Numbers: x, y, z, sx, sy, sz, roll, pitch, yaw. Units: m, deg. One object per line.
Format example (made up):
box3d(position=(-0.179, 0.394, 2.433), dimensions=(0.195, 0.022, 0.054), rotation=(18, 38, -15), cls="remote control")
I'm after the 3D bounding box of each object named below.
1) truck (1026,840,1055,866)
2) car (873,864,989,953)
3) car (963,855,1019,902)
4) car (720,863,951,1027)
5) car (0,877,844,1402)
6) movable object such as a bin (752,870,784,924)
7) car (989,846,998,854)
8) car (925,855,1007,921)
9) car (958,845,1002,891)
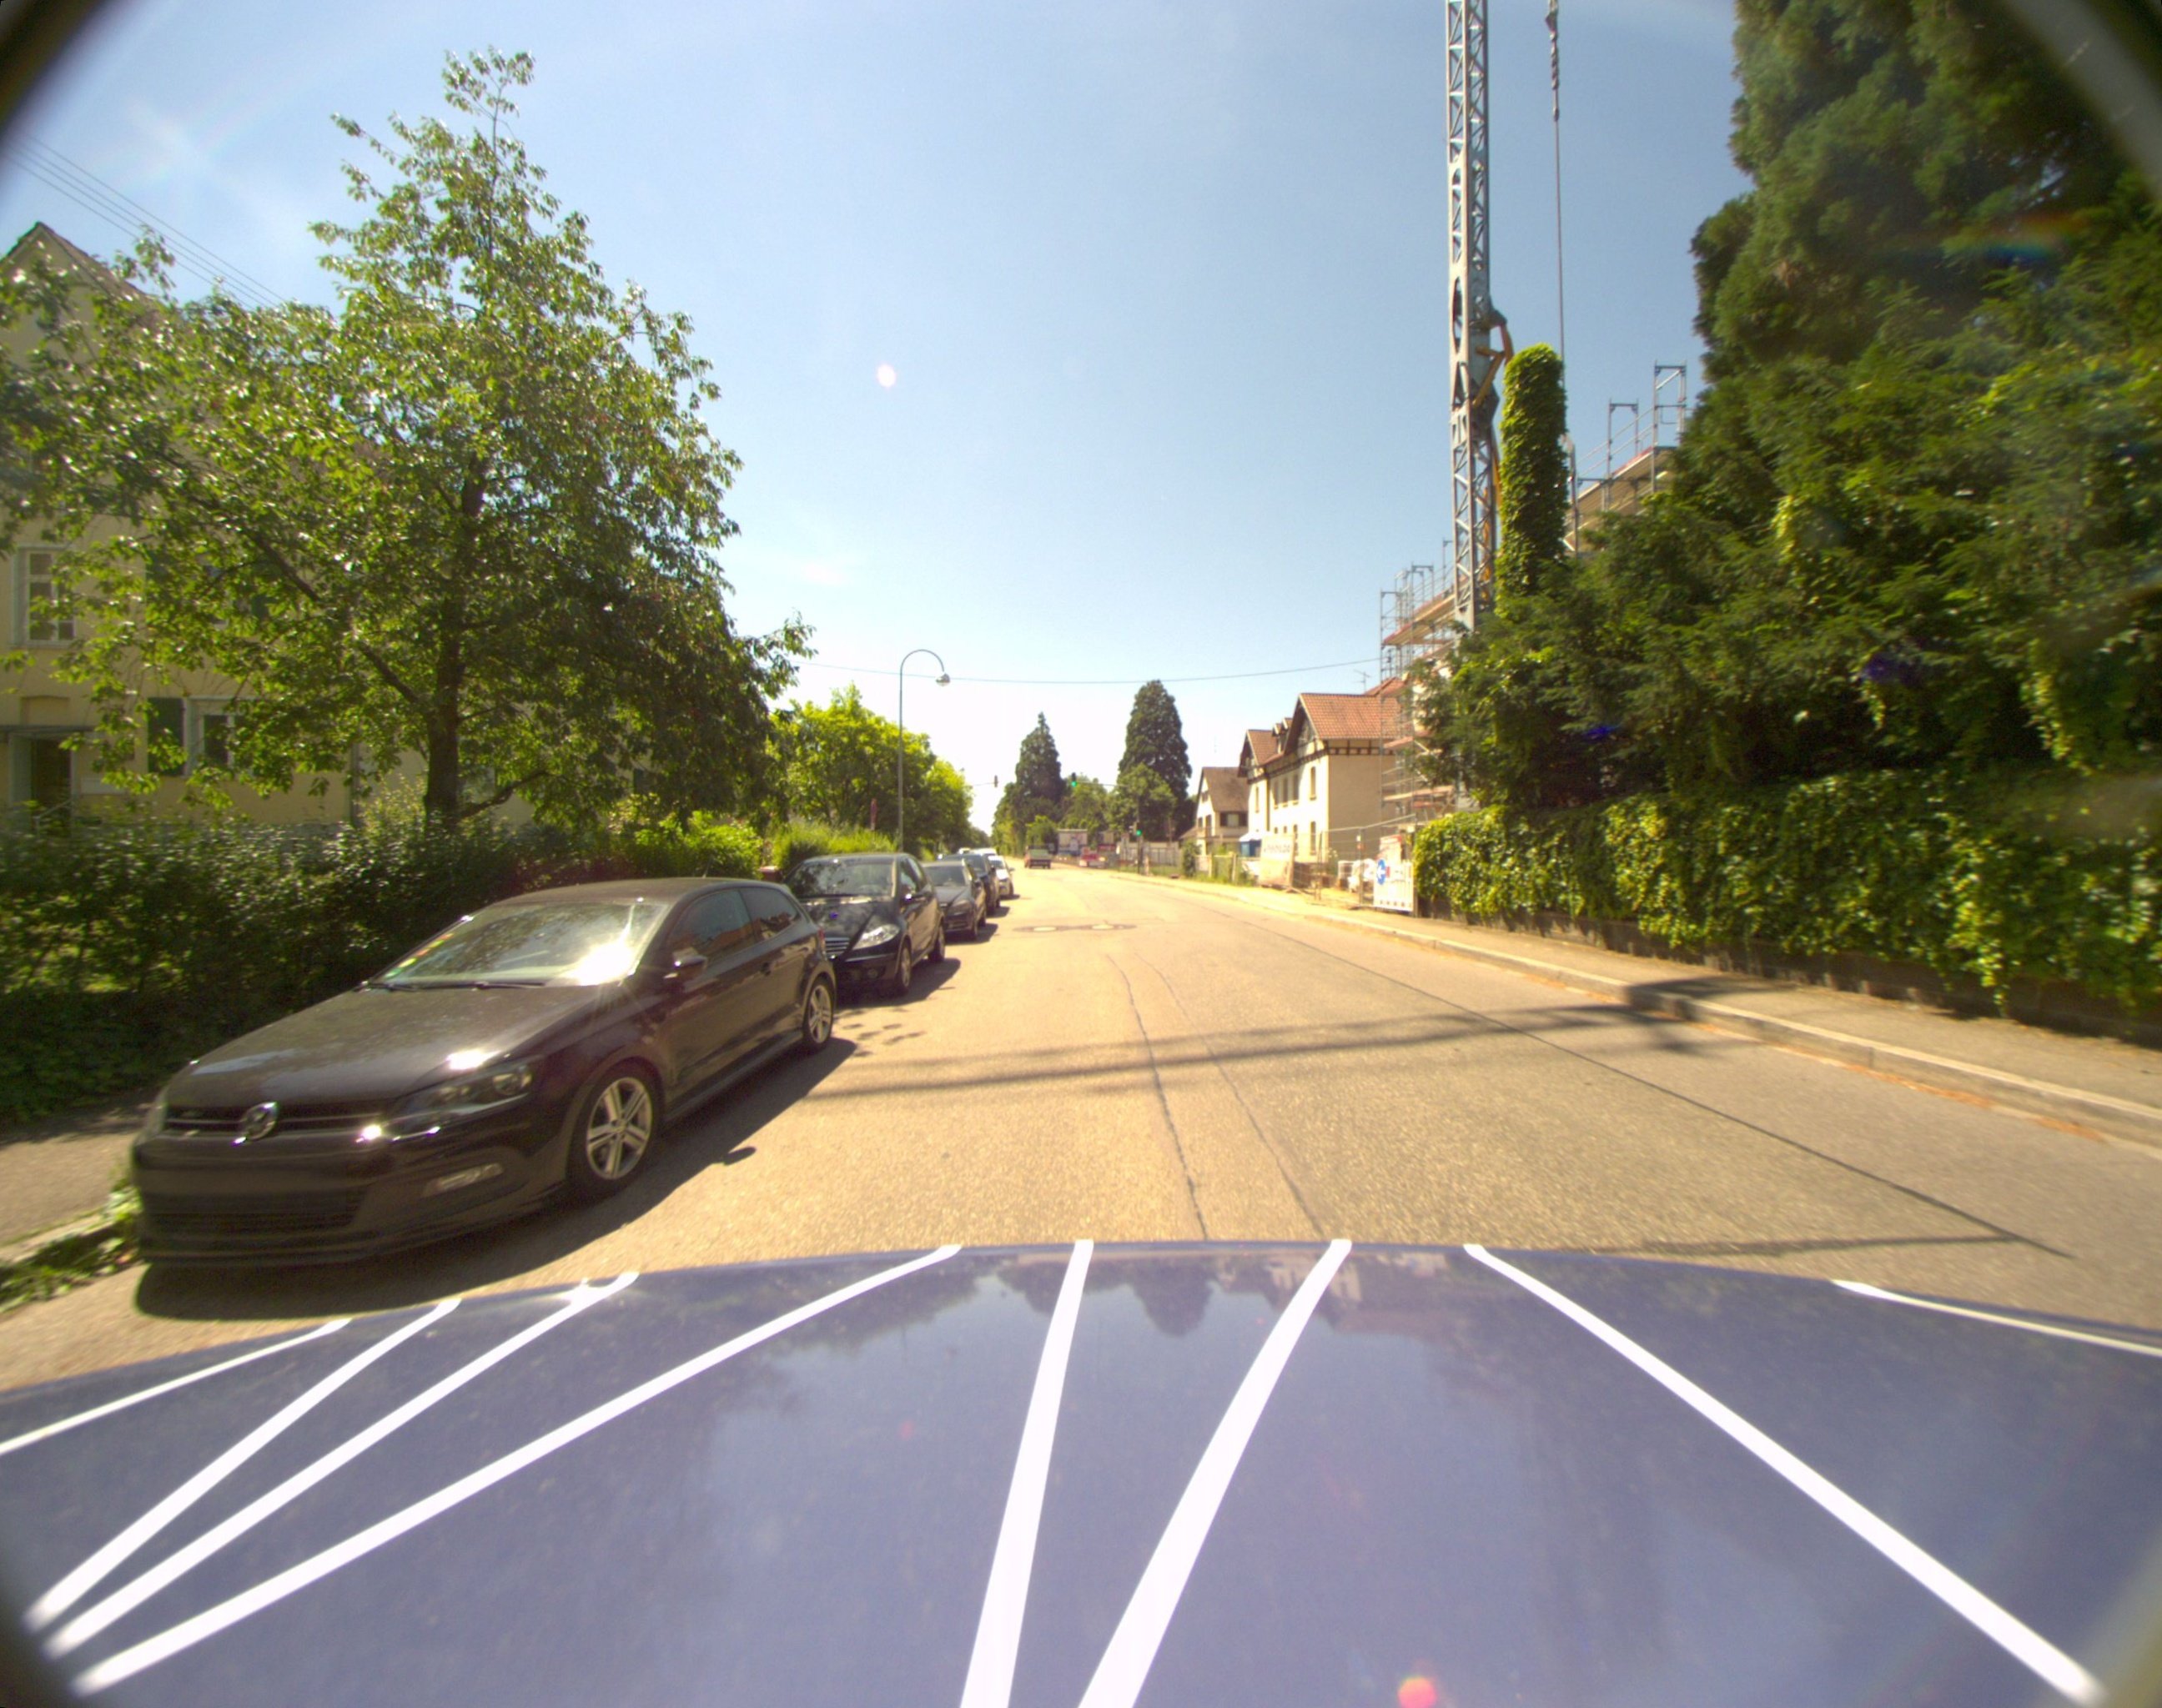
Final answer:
box3d(position=(-3.964, -0.076, 73.828), dimensions=(2.135, 2.325, 6.429), rotation=(1, 0, -9), cls="truck")
box3d(position=(-2.772, 0.939, 14.844), dimensions=(1.666, 1.423, 4.202), rotation=(0, 0, -3), cls="car")
box3d(position=(-3.096, 0.794, 26.699), dimensions=(1.666, 1.427, 4.127), rotation=(-2, 1, -3), cls="car")
box3d(position=(-2.737, 0.915, 9.432), dimensions=(1.585, 1.566, 4.008), rotation=(0, 0, 0), cls="car")
box3d(position=(-2.826, 0.958, 4.376), dimensions=(1.585, 1.435, 4.007), rotation=(-3, 0, 0), cls="car")
box3d(position=(-6.998, 0.959, 16.991), dimensions=(0.483, 1.165, 0.432), rotation=(5, -1, -10), cls="movable object such as a bin")
box3d(position=(-17.089, -0.735, 148.584), dimensions=(1.658, 1.553, 3.881), rotation=(2, 0, -8), cls="car")
box3d(position=(-2.996, 0.830, 20.519), dimensions=(1.666, 1.529, 4.202), rotation=(-1, 0, -2), cls="car")
box3d(position=(-4.327, 0.549, 32.994), dimensions=(1.667, 1.793, 4.200), rotation=(-2, 1, -5), cls="car")
